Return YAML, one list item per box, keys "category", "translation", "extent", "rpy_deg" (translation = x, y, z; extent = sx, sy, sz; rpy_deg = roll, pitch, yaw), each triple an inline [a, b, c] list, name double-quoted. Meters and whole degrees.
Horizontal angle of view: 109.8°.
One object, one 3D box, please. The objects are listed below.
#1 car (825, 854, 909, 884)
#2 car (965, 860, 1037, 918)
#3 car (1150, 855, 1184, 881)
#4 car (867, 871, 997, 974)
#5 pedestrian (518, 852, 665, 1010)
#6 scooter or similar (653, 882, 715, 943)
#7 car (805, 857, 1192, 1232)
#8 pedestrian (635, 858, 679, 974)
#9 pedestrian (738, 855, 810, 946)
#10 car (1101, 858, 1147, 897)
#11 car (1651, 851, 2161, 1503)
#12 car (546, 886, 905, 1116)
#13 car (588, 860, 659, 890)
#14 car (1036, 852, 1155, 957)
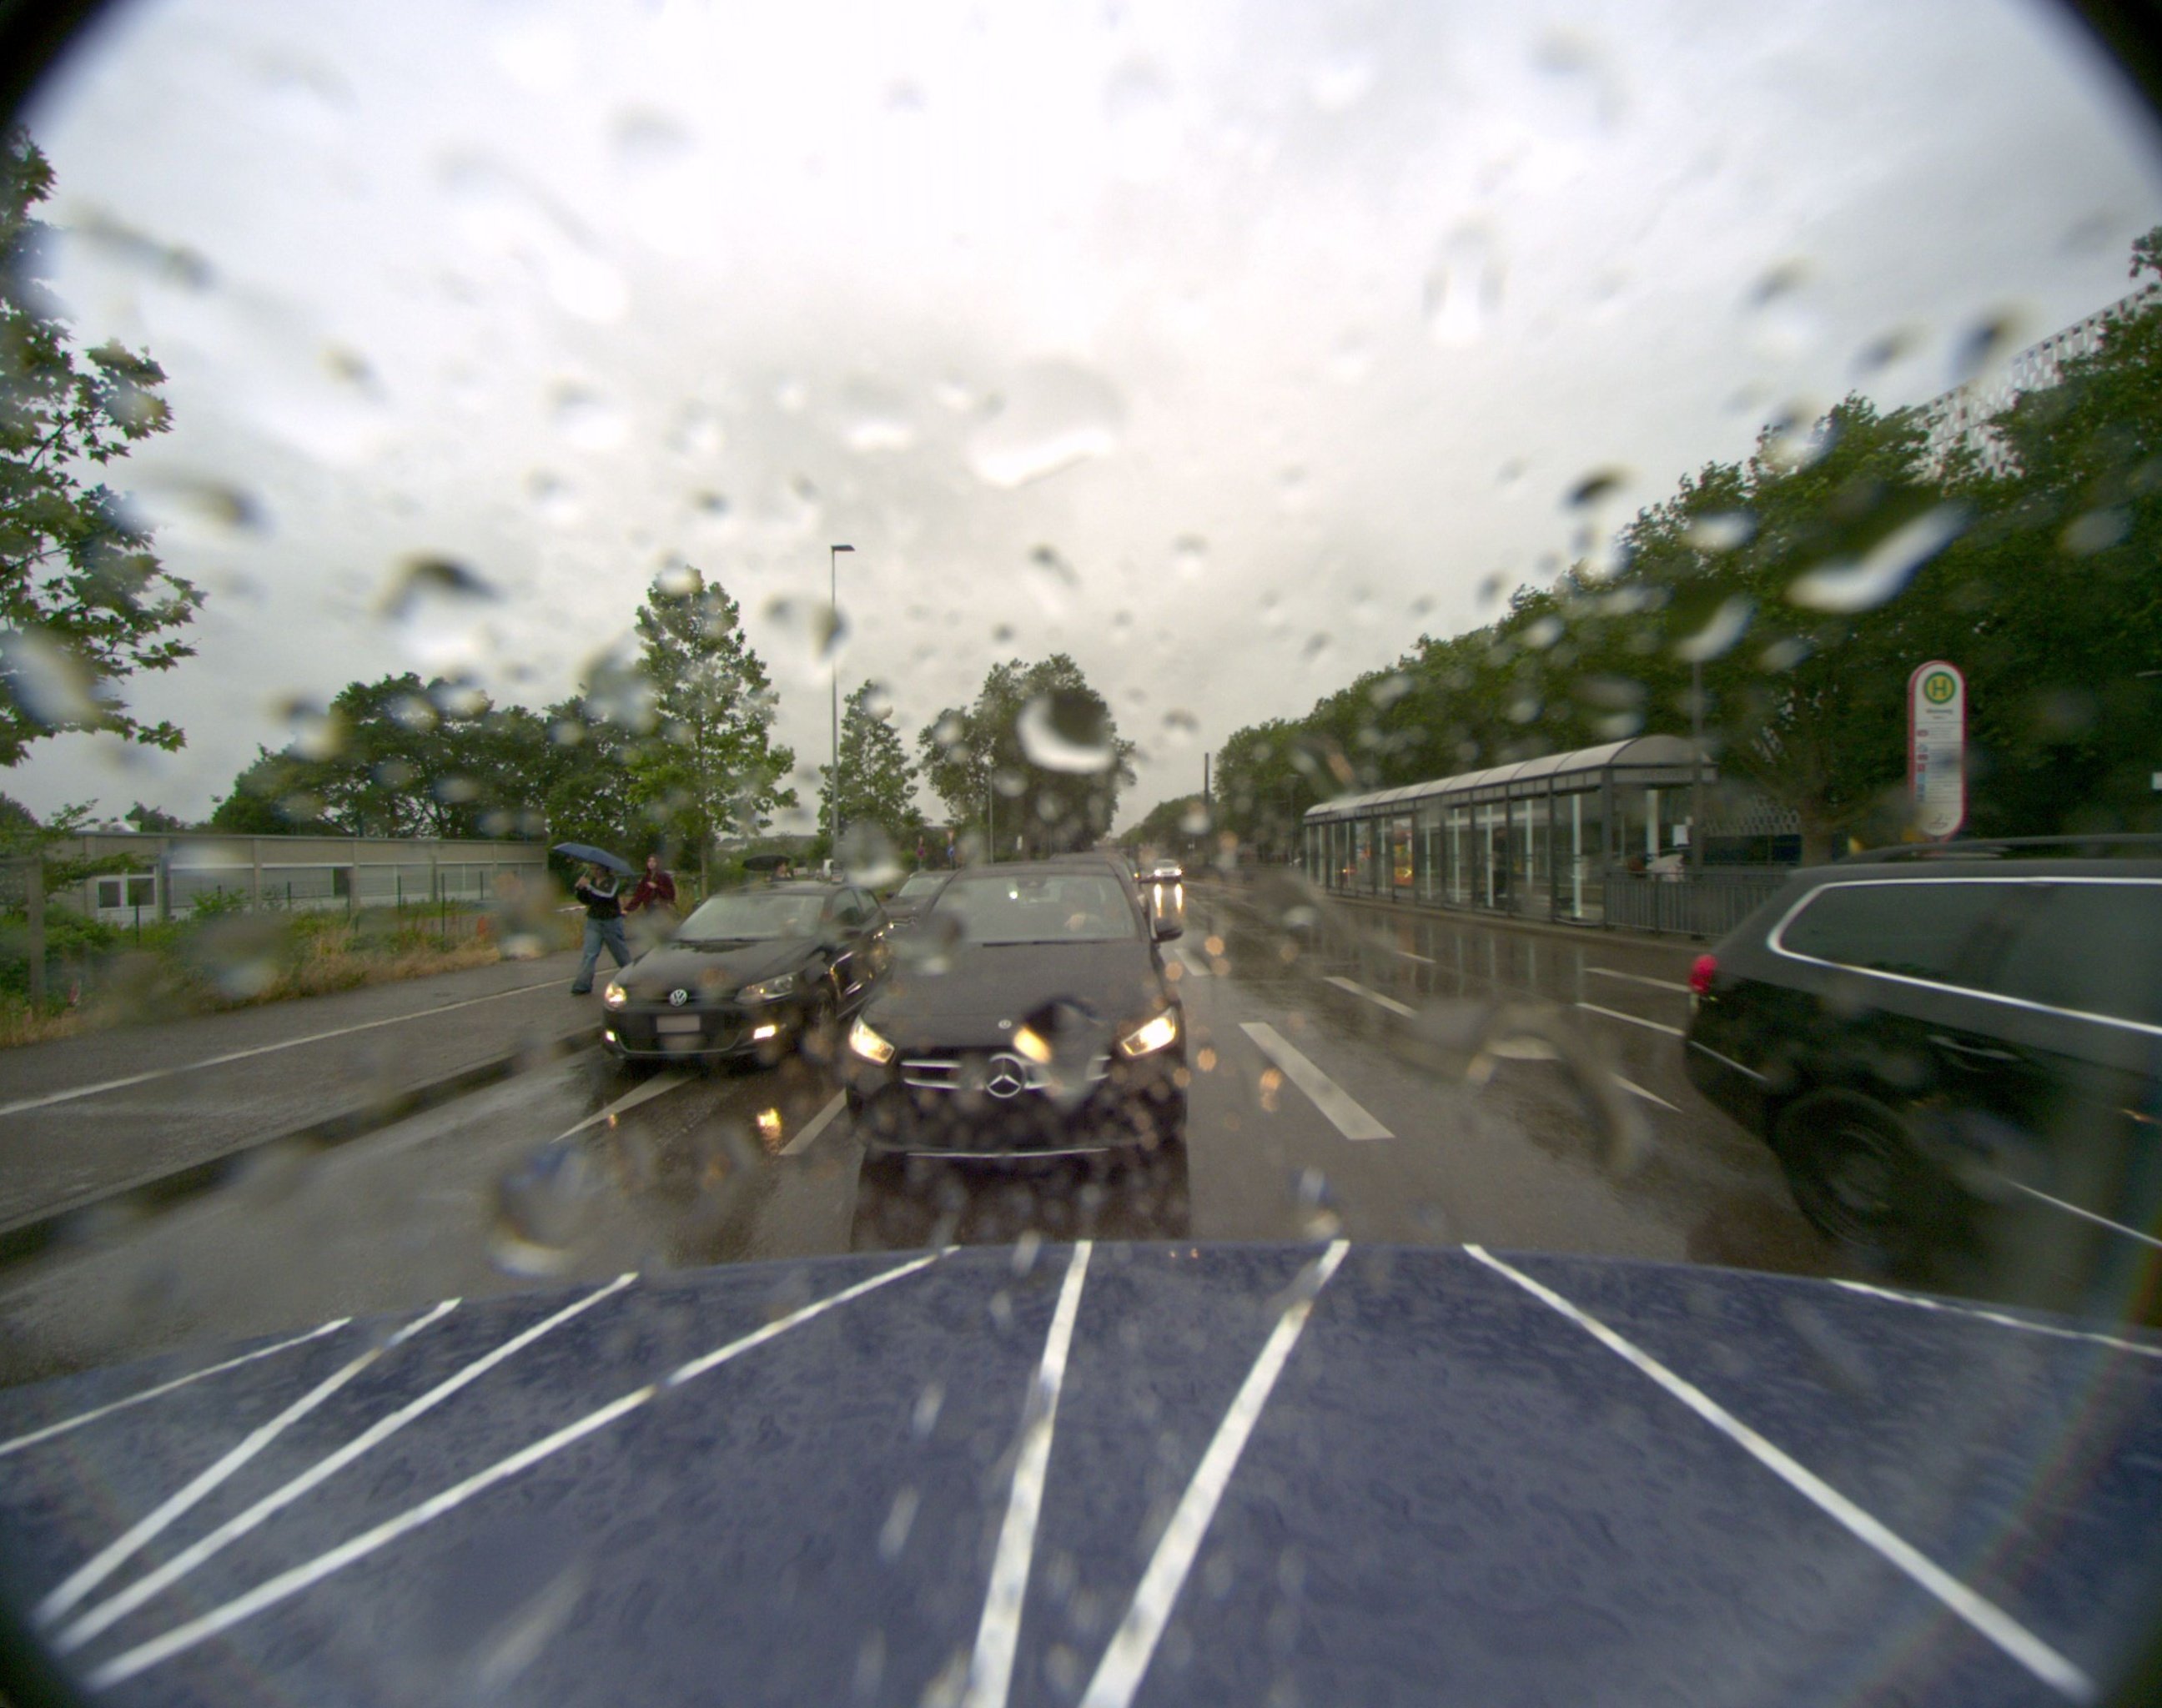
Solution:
- category: "car"
  translation: [-13.497, 0.936, 48.147]
  extent: [4.759, 1.640, 1.999]
  rpy_deg: [-2, 1, -2]
- category: "car"
  translation: [-2.305, 0.967, 22.809]
  extent: [1.703, 1.461, 4.121]
  rpy_deg: [-2, 1, 0]
- category: "car"
  translation: [5.894, 0.923, 52.303]
  extent: [1.794, 1.597, 3.999]
  rpy_deg: [-2, 1, 0]
- category: "car"
  translation: [-2.754, 1.212, 14.897]
  extent: [1.698, 1.565, 3.813]
  rpy_deg: [-2, 1, 1]
- category: "pedestrian"
  translation: [-5.704, 0.859, 8.933]
  extent: [1.082, 1.746, 0.969]
  rpy_deg: [0, 1, 0]
- category: "scooter or similar"
  translation: [-8.218, 1.182, 15.807]
  extent: [0.381, 1.123, 1.777]
  rpy_deg: [0, 1, -1]
- category: "car"
  translation: [-0.343, 0.879, 5.522]
  extent: [1.690, 1.578, 4.163]
  rpy_deg: [-2, 1, 1]
- category: "pedestrian"
  translation: [-6.190, 0.889, 11.114]
  extent: [0.401, 1.652, 0.441]
  rpy_deg: [1, 1, 0]
- category: "pedestrian"
  translation: [-5.948, 0.886, 14.776]
  extent: [1.025, 1.698, 0.891]
  rpy_deg: [1, 1, 0]
- category: "car"
  translation: [1.927, 1.037, 35.024]
  extent: [1.794, 1.597, 3.999]
  rpy_deg: [-2, 1, 0]
- category: "car"
  translation: [3.441, 0.793, 1.174]
  extent: [1.775, 1.492, 4.597]
  rpy_deg: [-2, 1, 2]
- category: "car"
  translation: [-2.914, 1.110, 7.152]
  extent: [1.633, 1.420, 3.624]
  rpy_deg: [-2, 0, 0]
- category: "car"
  translation: [-33.969, 1.513, 56.519]
  extent: [3.996, 2.002, 2.000]
  rpy_deg: [-2, 1, 2]
- category: "car"
  translation: [0.195, 0.722, 12.546]
  extent: [1.633, 1.420, 3.624]
  rpy_deg: [-2, 0, 0]
